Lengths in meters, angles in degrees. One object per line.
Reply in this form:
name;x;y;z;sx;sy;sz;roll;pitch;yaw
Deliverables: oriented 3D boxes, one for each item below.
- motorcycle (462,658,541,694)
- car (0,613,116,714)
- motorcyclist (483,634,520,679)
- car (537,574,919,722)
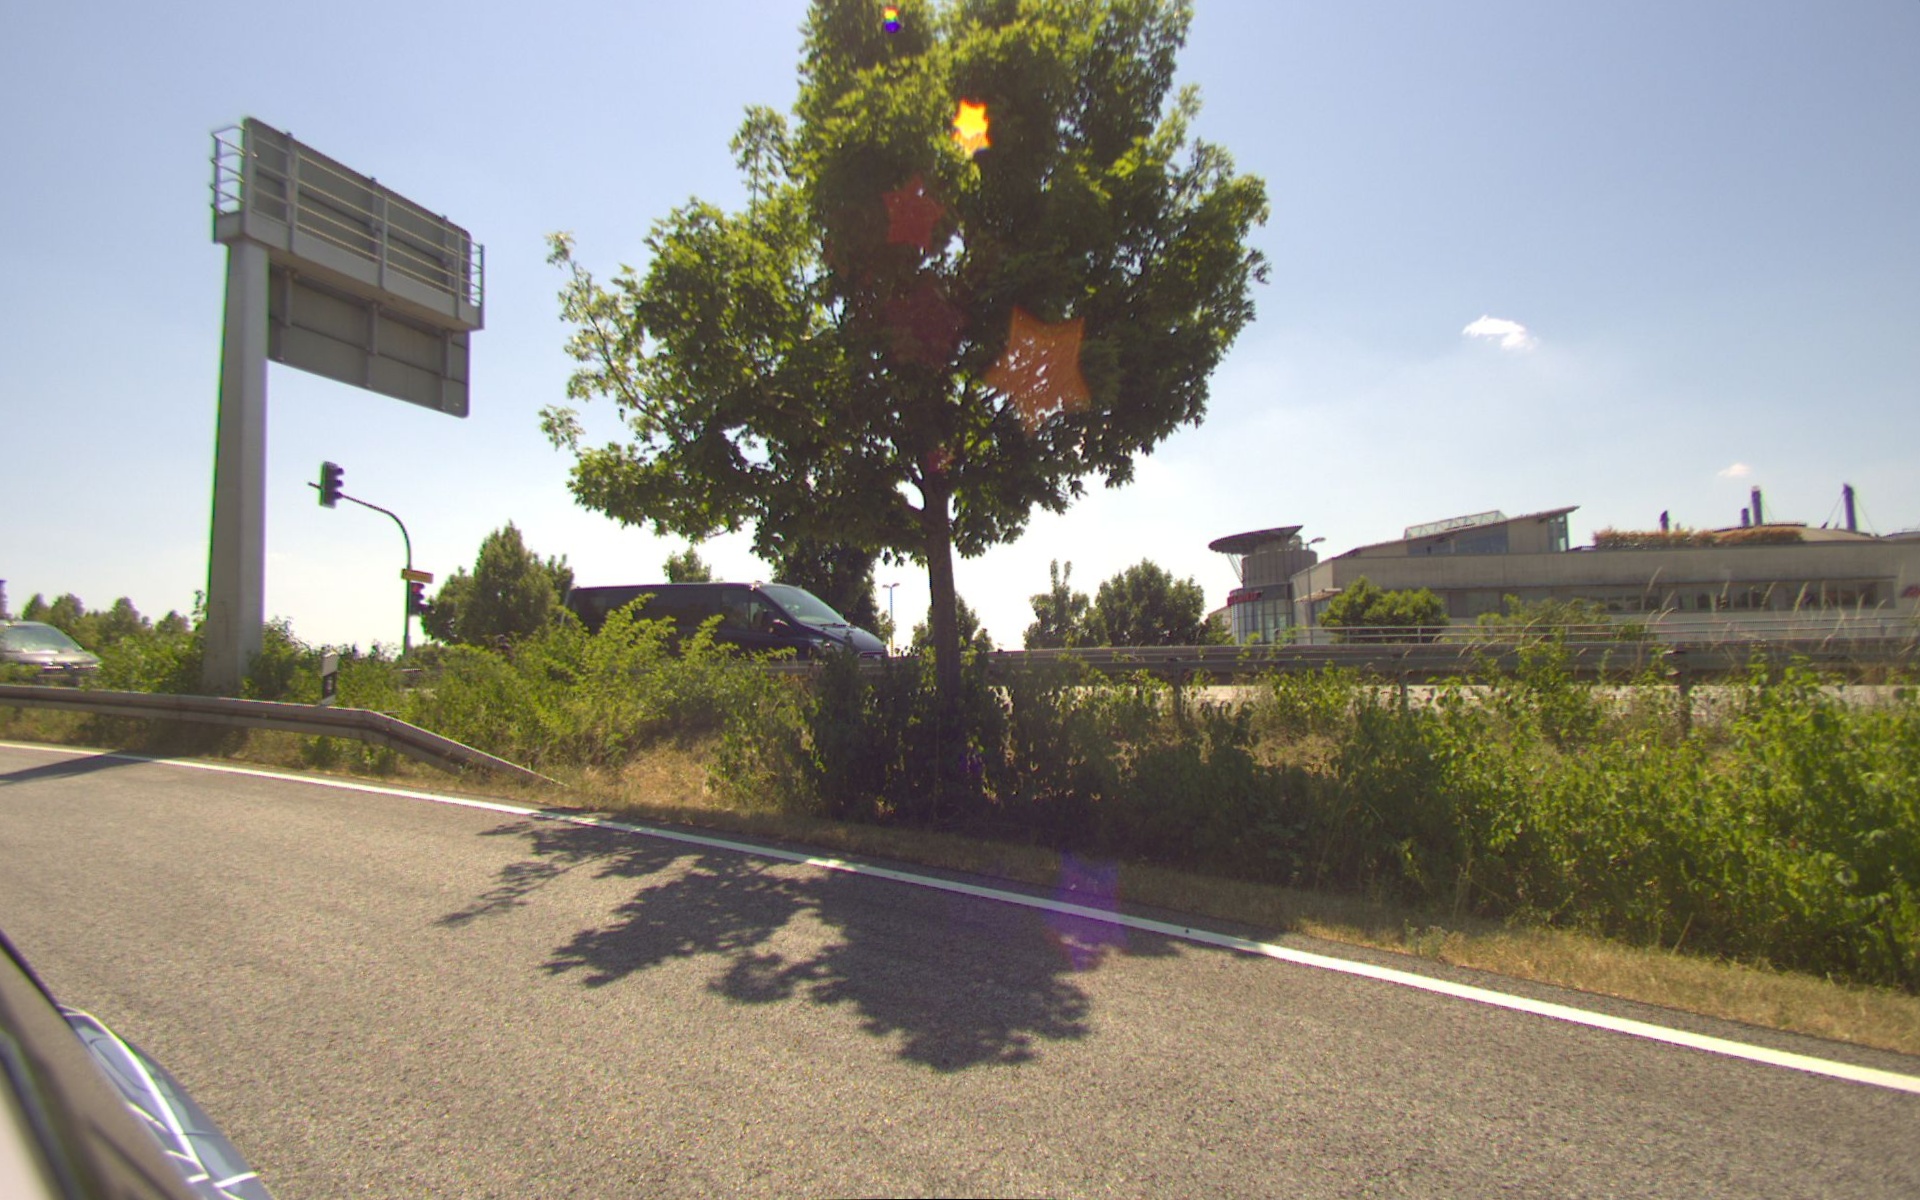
motorcycle;-13.952;2.321;30.771;2.260;1.089;0.562;-1;-5;11
car;-20.133;1.336;20.842;4.491;1.934;1.935;-1;-6;16
motorcyclist;-13.953;1.729;30.820;0.716;1.313;0.674;-1;-6;11
car;-3.508;0.674;15.293;5.372;1.952;2.111;-1;0;21
